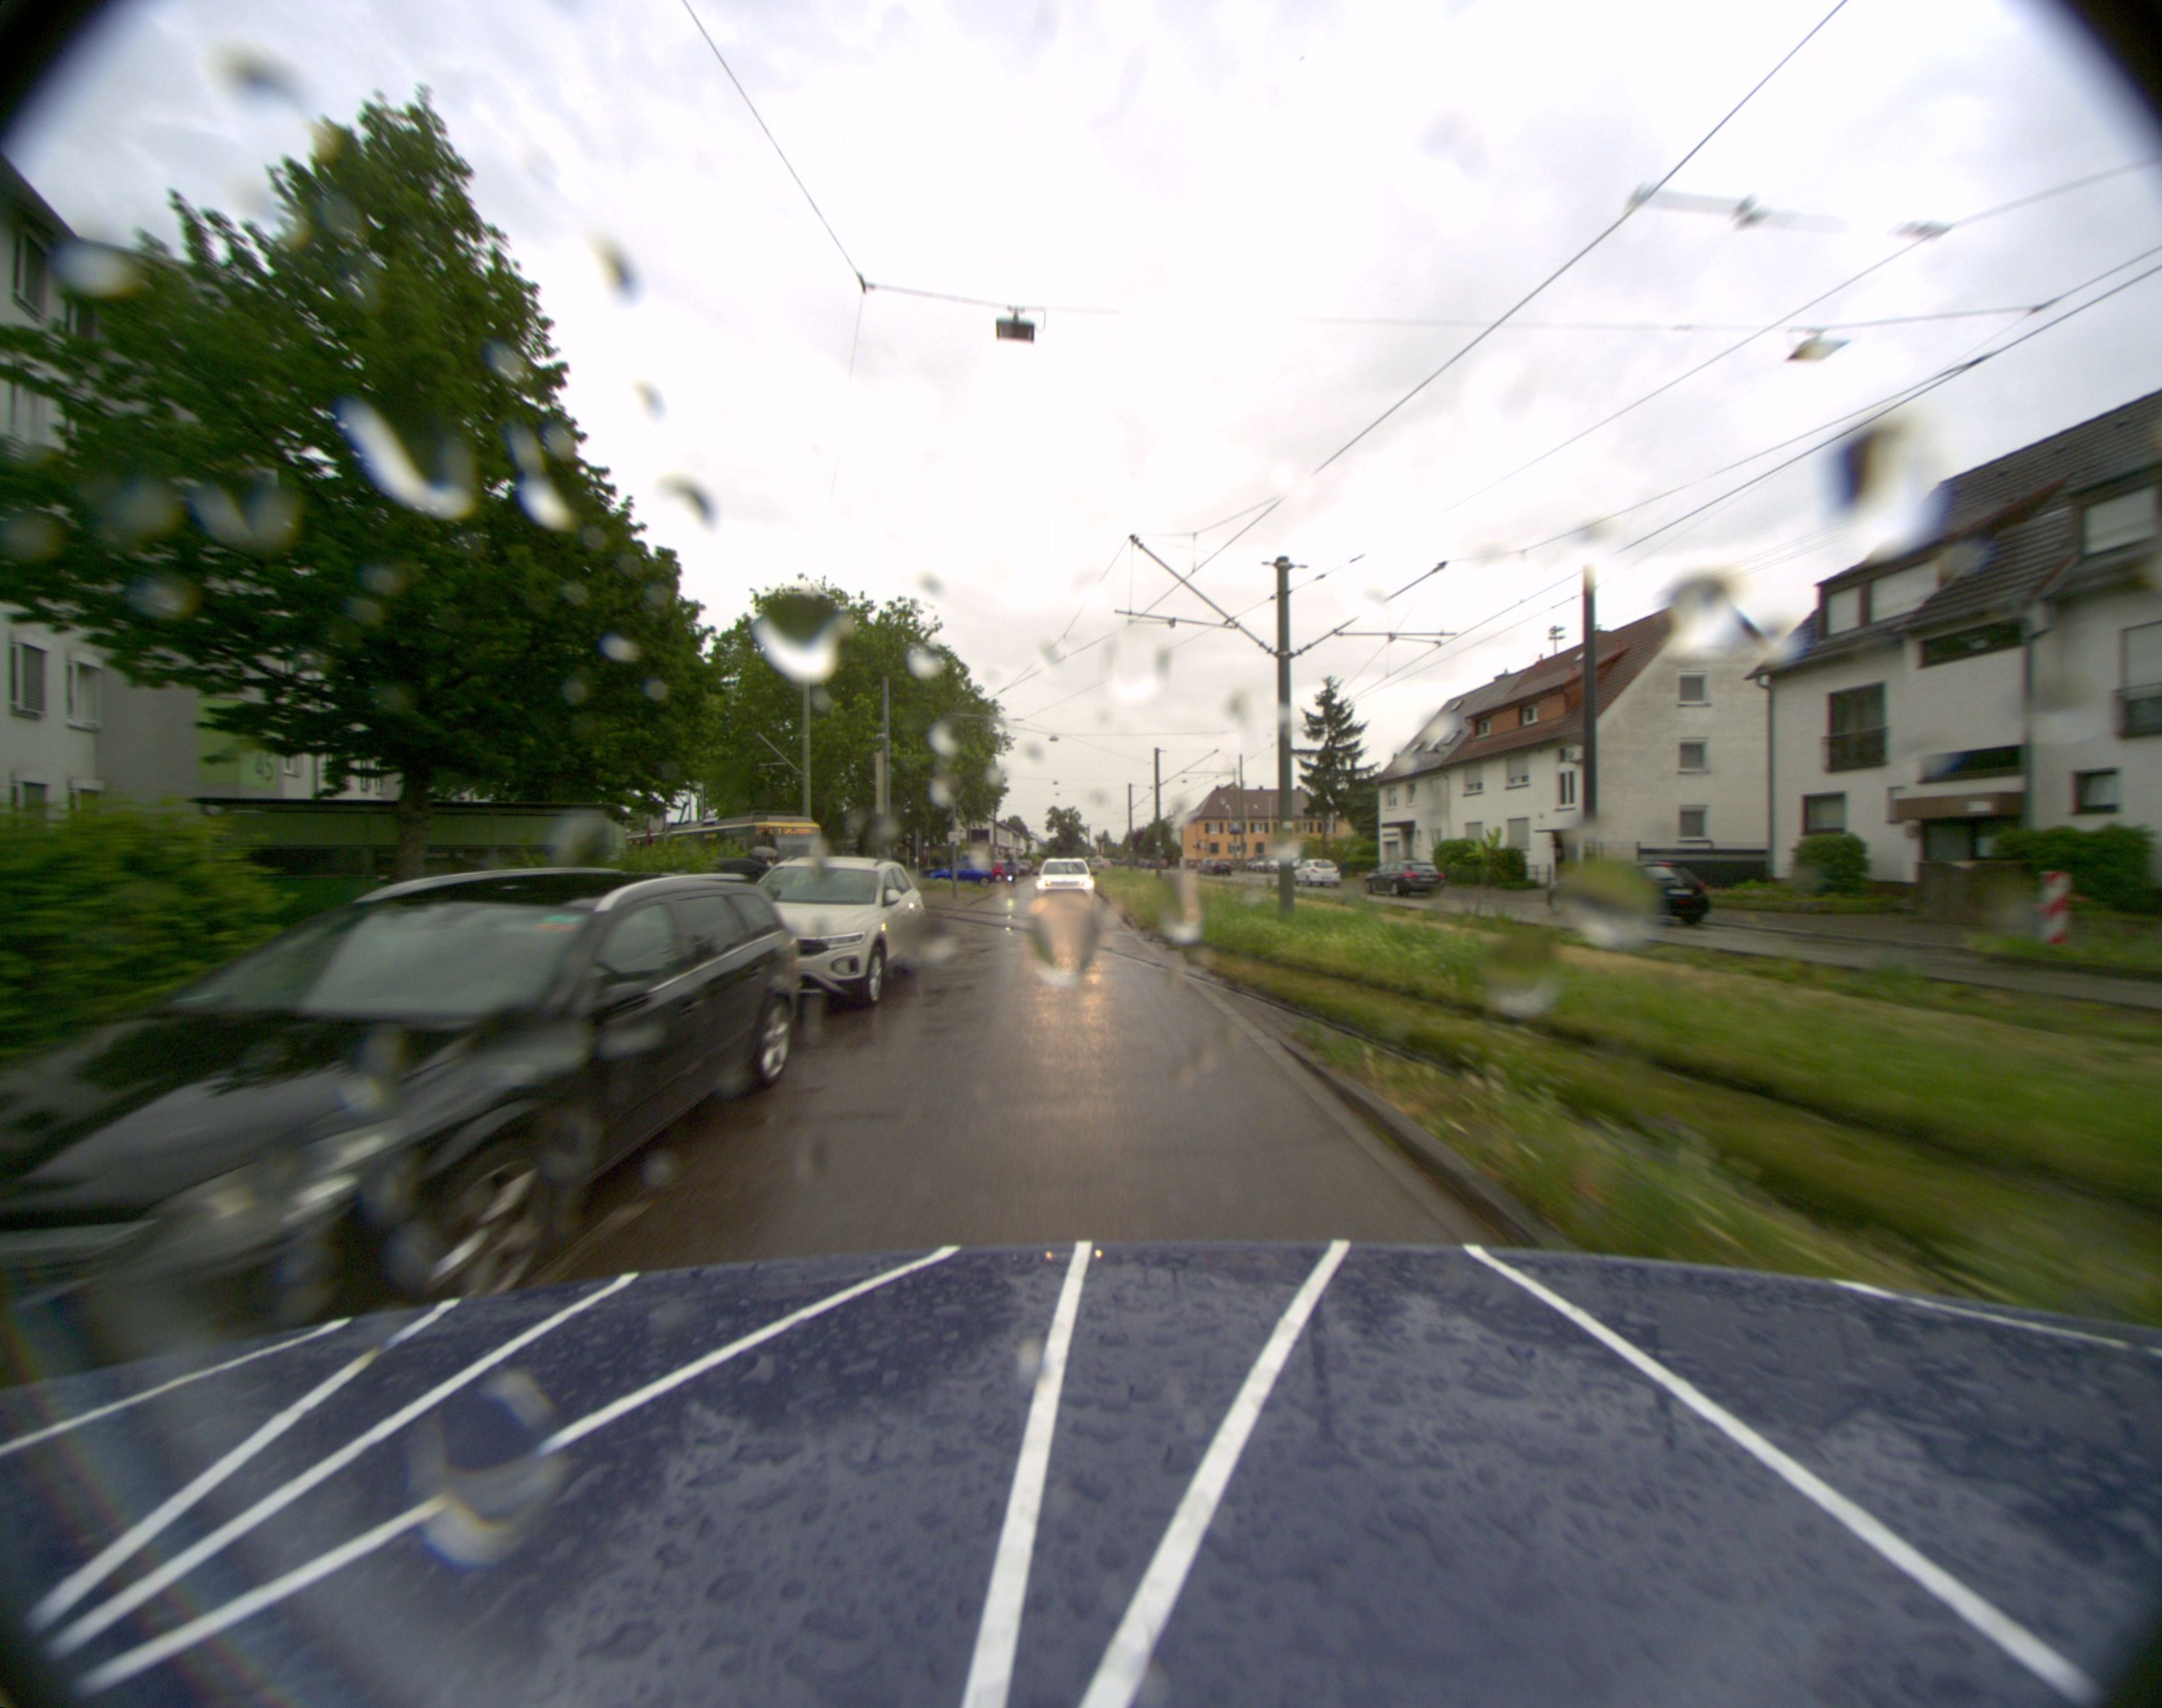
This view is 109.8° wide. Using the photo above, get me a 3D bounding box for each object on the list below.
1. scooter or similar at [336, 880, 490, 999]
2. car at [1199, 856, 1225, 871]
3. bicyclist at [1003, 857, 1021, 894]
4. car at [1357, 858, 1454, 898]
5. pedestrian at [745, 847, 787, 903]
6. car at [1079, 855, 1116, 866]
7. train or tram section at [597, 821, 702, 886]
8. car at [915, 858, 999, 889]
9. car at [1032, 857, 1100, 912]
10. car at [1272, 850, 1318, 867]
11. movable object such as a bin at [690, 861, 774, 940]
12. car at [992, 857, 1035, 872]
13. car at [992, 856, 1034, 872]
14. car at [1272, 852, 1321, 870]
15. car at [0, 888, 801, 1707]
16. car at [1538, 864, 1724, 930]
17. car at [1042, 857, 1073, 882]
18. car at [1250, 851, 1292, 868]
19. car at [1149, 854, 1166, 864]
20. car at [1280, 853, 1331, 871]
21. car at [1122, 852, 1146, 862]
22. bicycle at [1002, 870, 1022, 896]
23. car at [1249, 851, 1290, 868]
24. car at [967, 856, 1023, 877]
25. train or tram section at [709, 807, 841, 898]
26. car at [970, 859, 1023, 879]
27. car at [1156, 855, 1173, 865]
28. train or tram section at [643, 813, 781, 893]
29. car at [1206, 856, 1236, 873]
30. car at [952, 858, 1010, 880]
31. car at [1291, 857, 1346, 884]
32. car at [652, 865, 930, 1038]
[{"bbox_3d":[-7.829,0.959,8.945,1.329,1.254,0.473,0,0,-43],"label":"scooter or similar"},{"bbox_3d":[12.924,0.919,75.090,1.881,1.520,3.999,0,0,-1],"label":"car"},{"bbox_3d":[-2.889,0.896,31.913,0.710,1.503,0.715,0,0,-1],"label":"bicyclist"},{"bbox_3d":[13.316,0.932,31.519,1.892,1.522,4.755,1,0,-2],"label":"car"},{"bbox_3d":[-10.113,0.658,24.420,1.016,1.764,0.867,0,1,40],"label":"pedestrian"},{"bbox_3d":[2.146,0.807,99.160,4.267,1.423,2.111,0,0,27],"label":"car"},{"bbox_3d":[-25.027,-0.027,43.735,2.763,3.320,10.321,0,0,-44],"label":"train or tram section"},{"bbox_3d":[-6.469,0.993,39.799,4.007,1.518,1.715,0,0,-33],"label":"car"},{"bbox_3d":[-0.469,0.866,23.110,1.854,1.500,4.119,0,0,-2],"label":"car"},{"bbox_3d":[20.505,0.439,72.957,3.995,1.586,1.914,-1,0,7],"label":"car"},{"bbox_3d":[-6.861,0.865,14.903,1.155,1.432,1.472,0,0,-40],"label":"movable object such as a bin"},{"bbox_3d":[-6.333,0.980,71.373,3.712,1.408,1.616,0,0,-26],"label":"car"},{"bbox_3d":[-6.662,0.941,74.444,3.712,1.513,1.616,0,0,-26],"label":"car"},{"bbox_3d":[19.919,0.647,70.359,3.997,1.586,1.913,-1,0,1],"label":"car"},{"bbox_3d":[-2.971,0.968,3.537,1.905,1.440,4.183,0,0,-2],"label":"car"},{"bbox_3d":[13.540,0.989,19.027,1.777,1.417,3.937,1,0,-1],"label":"car"},{"bbox_3d":[-1.485,0.940,47.823,1.854,1.500,4.119,0,0,-2],"label":"car"},{"bbox_3d":[19.182,0.564,76.743,3.993,1.586,1.915,-1,0,12],"label":"car"},{"bbox_3d":[11.800,0.772,116.949,2.096,1.423,4.076,0,0,-2],"label":"car"},{"bbox_3d":[20.088,0.692,68.052,3.997,1.455,1.913,-1,0,1],"label":"car"},{"bbox_3d":[9.454,0.523,135.921,3.998,1.637,1.893,1,0,-4],"label":"car"},{"bbox_3d":[-2.885,1.204,31.916,0.710,1.031,2.098,0,0,-1],"label":"bicycle"},{"bbox_3d":[19.718,0.570,79.272,3.991,1.586,1.916,-1,0,19],"label":"car"},{"bbox_3d":[-6.267,0.911,55.260,3.712,1.475,1.616,0,0,-26],"label":"car"},{"bbox_3d":[-12.596,-0.070,30.992,2.763,3.320,6.382,0,0,-44],"label":"train or tram section"},{"bbox_3d":[-6.515,1.122,58.688,3.712,1.475,1.616,0,0,-26],"label":"car"},{"bbox_3d":[11.856,0.855,108.225,1.885,1.423,4.076,0,0,-2],"label":"car"},{"bbox_3d":[-17.923,-0.045,36.410,2.763,3.320,10.321,0,0,-44],"label":"train or tram section"},{"bbox_3d":[12.938,0.939,70.408,1.912,1.581,3.999,0,0,-1],"label":"car"},{"bbox_3d":[-6.814,0.985,51.663,3.582,1.451,1.616,0,0,-27],"label":"car"},{"bbox_3d":[13.270,0.881,42.699,1.715,1.432,3.999,1,0,-2],"label":"car"},{"bbox_3d":[-3.123,0.944,9.187,1.905,1.566,4.111,0,0,-2],"label":"car"}]
